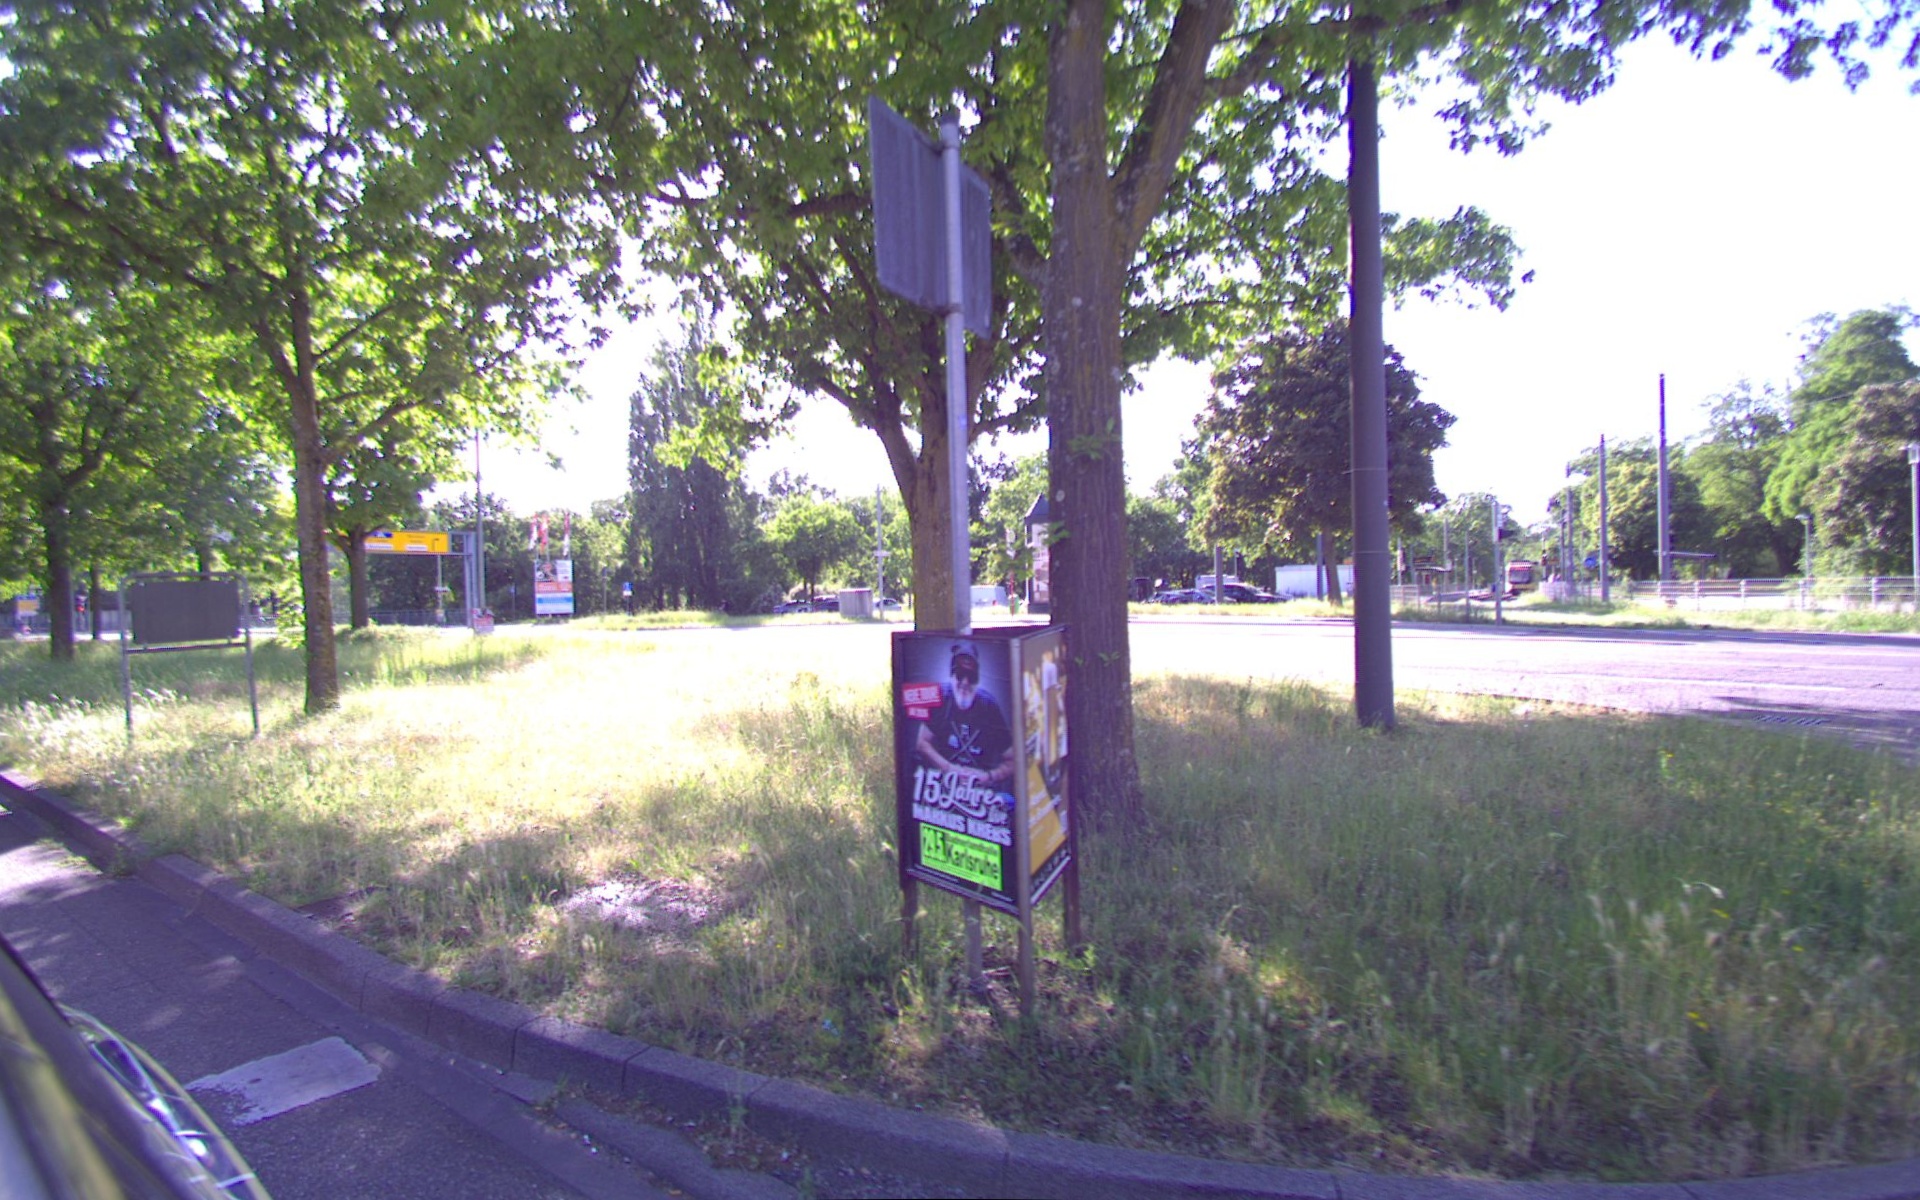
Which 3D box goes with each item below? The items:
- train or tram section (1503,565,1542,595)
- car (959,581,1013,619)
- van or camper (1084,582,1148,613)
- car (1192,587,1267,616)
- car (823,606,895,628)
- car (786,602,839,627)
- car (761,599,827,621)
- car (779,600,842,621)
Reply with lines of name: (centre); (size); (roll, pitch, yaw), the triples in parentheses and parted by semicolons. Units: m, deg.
train or tram section: (60.901, -2.231, 109.226); (2.462, 2.962, 19.625); (-2, 1, 33)
car: (1.550, -0.042, 58.329); (2.216, 2.029, 4.981); (-2, 0, 12)
van or camper: (11.053, -0.159, 72.006); (1.967, 2.112, 4.412); (-2, 0, -36)
car: (16.030, 0.072, 60.199); (3.980, 1.579, 1.982); (-2, 0, 27)
car: (-5.999, 1.018, 60.293); (3.986, 1.137, 1.803); (-2, 0, 31)
car: (-9.294, 0.909, 63.555); (1.791, 1.459, 4.011); (-2, 0, -33)
car: (-12.579, 0.768, 76.890); (4.504, 1.475, 1.995); (-2, 2, 8)
car: (-11.873, 0.827, 80.453); (4.504, 1.475, 1.995); (-2, 2, 8)
